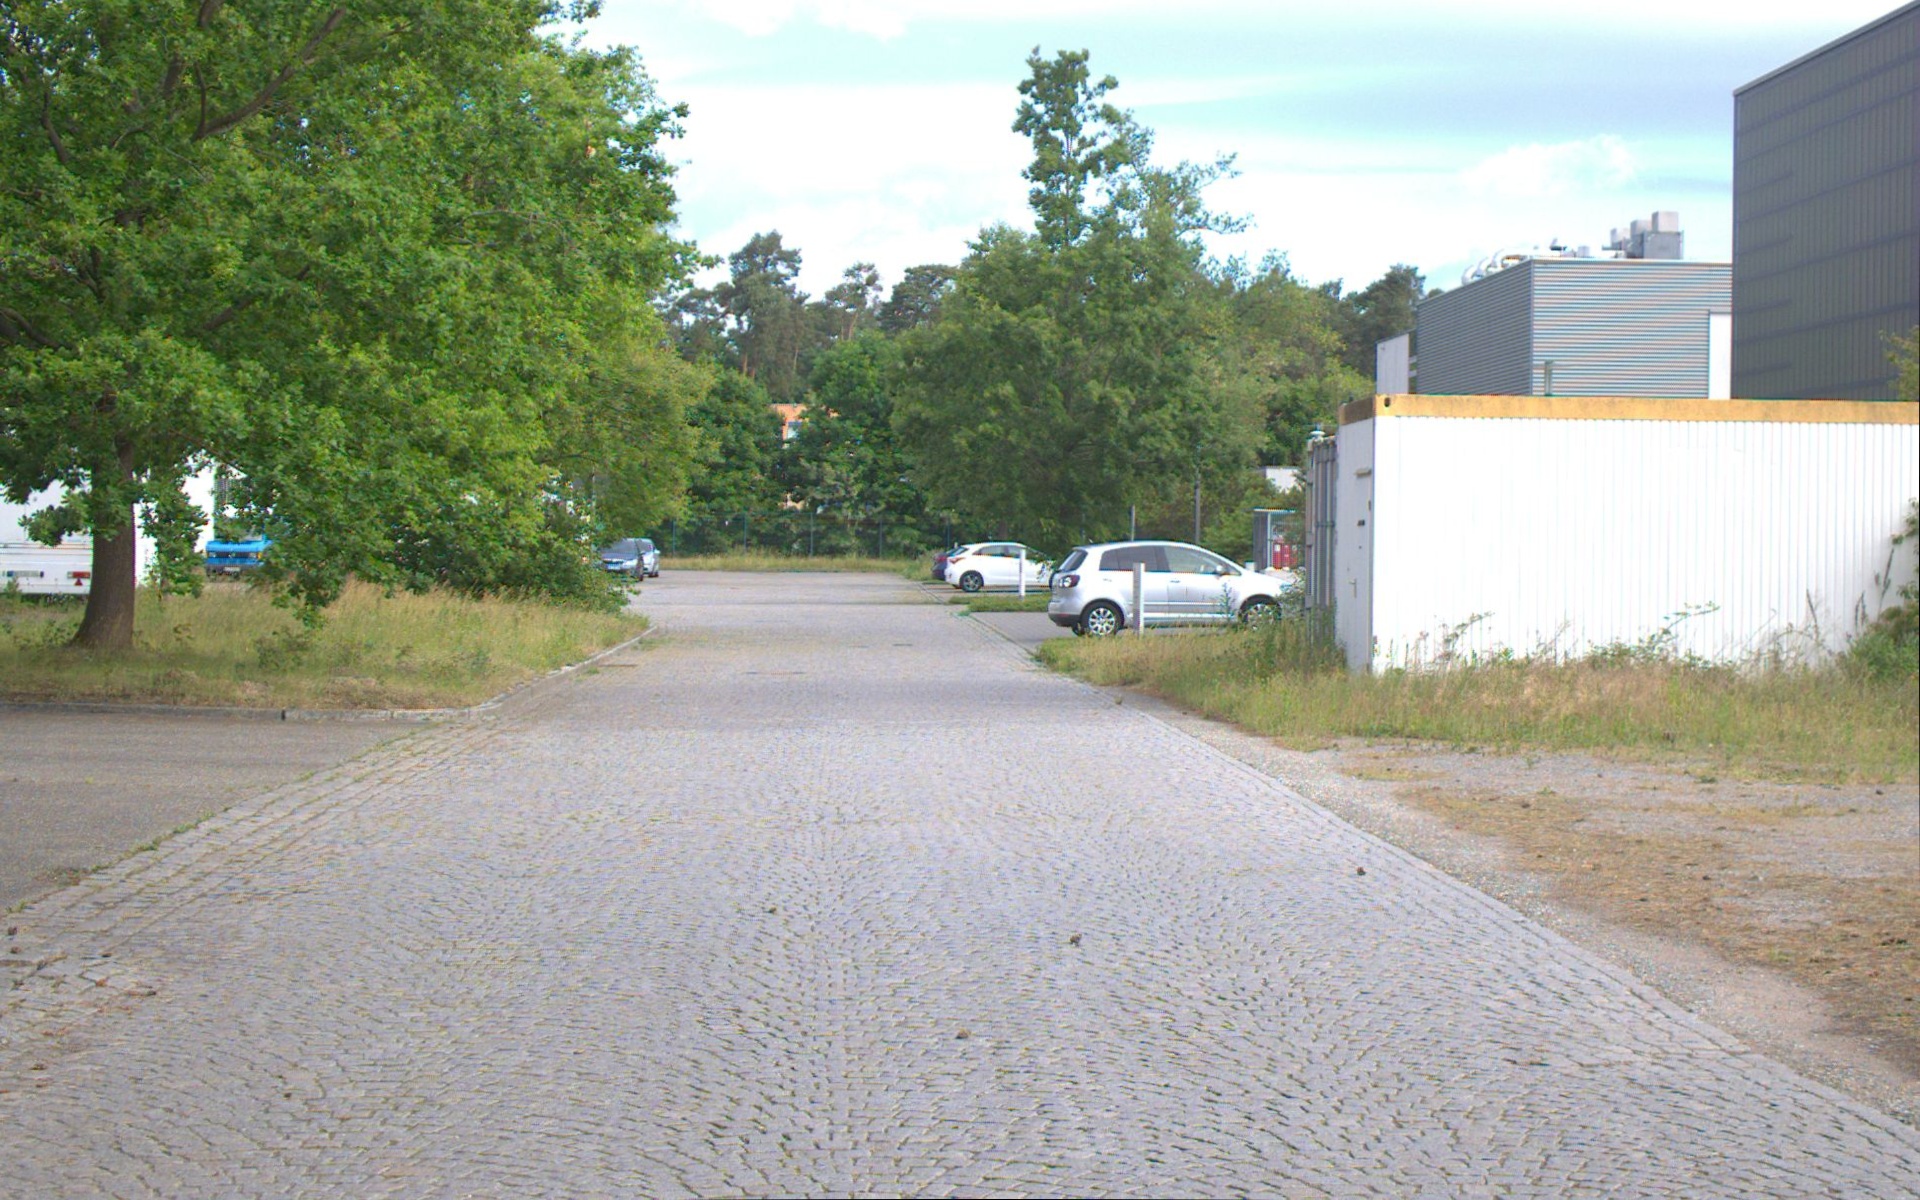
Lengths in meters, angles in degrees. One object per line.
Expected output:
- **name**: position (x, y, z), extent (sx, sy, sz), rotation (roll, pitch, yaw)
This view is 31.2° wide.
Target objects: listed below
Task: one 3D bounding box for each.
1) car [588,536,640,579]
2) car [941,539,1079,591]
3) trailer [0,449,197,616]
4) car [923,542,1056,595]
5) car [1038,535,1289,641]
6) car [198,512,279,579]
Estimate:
- **car**: position (-12.106, -1.510, 120.559), extent (1.734, 1.464, 4.046), rotation (1, 1, -5)
- **car**: position (1.471, -1.043, 101.983), extent (4.025, 1.496, 1.548), rotation (1, 1, -1)
- **trailer**: position (-17.586, -1.341, 67.780), extent (3.158, 3.057, 8.784), rotation (1, 1, -1)
- **car**: position (0.900, -0.987, 107.523), extent (3.986, 1.596, 1.729), rotation (1, 1, -5)
- **car**: position (3.285, -0.201, 55.868), extent (3.849, 1.649, 1.686), rotation (1, 1, -5)
- **car**: position (-22.663, -1.721, 108.148), extent (1.925, 2.040, 4.601), rotation (1, 1, -5)
